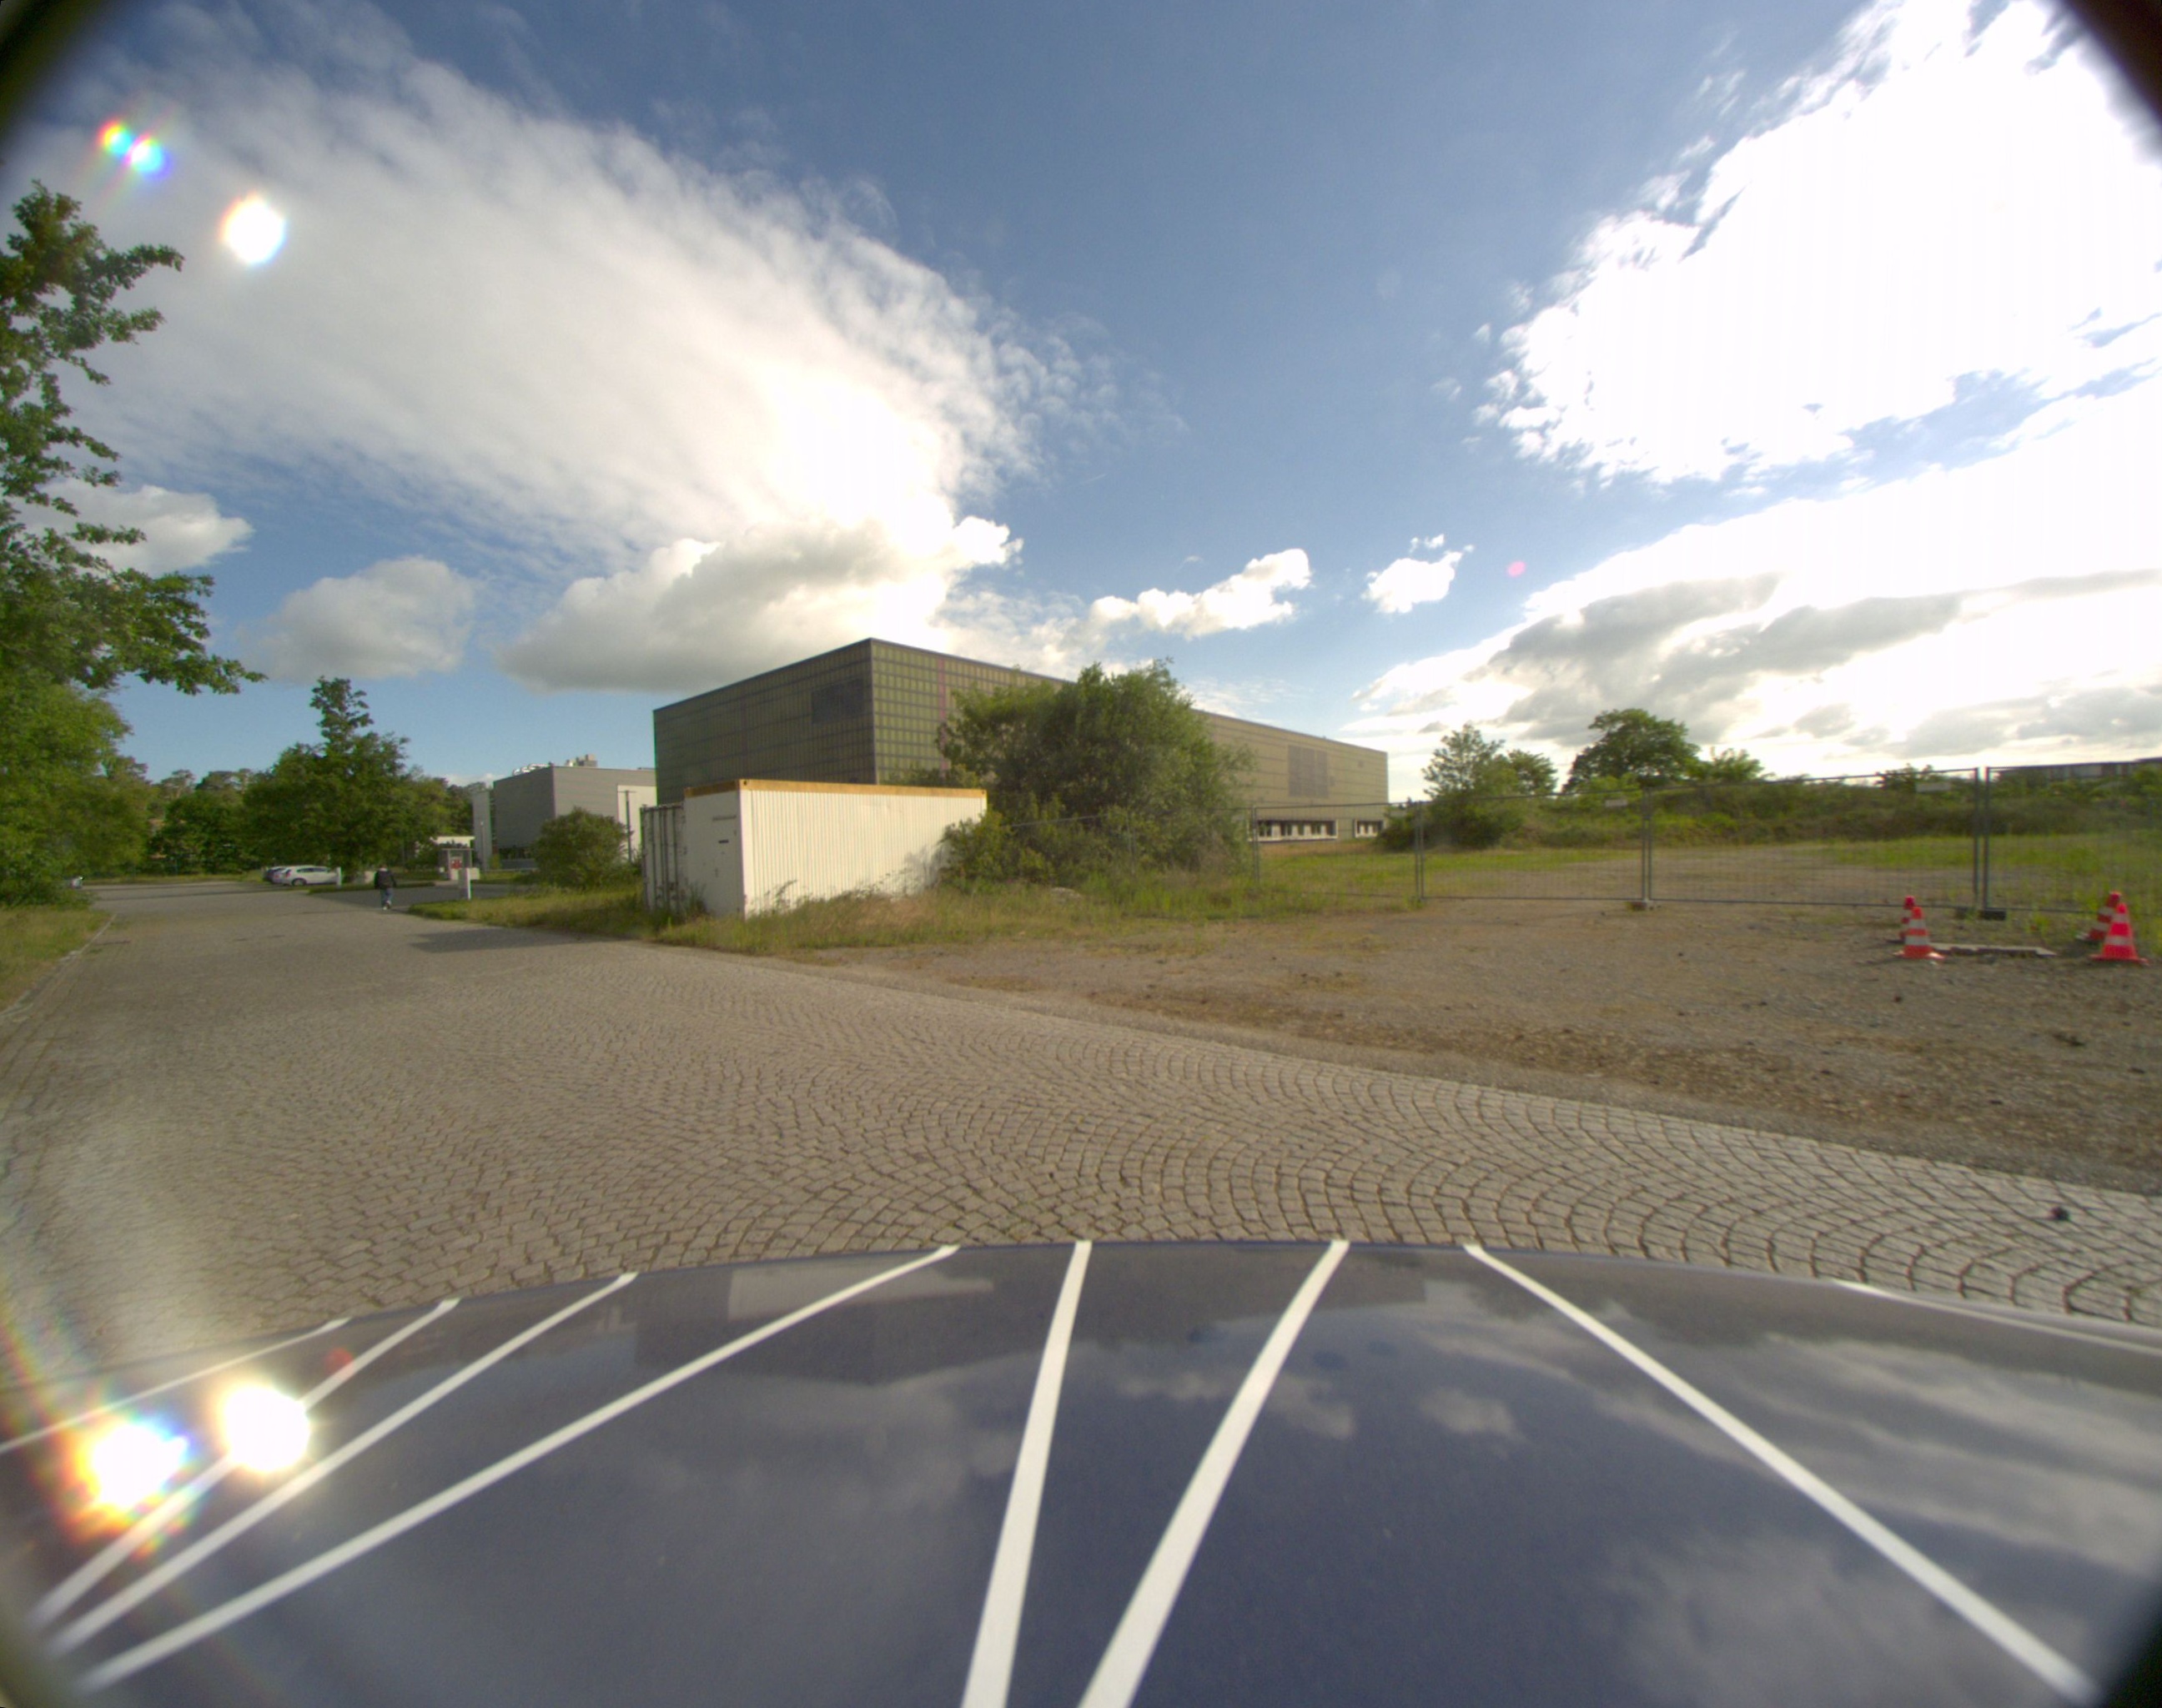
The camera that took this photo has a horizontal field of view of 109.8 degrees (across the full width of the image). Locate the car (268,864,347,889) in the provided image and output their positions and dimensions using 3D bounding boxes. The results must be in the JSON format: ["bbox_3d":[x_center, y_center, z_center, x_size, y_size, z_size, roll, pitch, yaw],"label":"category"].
[{"bbox_3d":[-57.392,1.624,56.492,4.007,1.633,1.994,-3,2,-45],"label":"car"}]

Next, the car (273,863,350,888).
[{"bbox_3d":[-59.180,1.626,58.514,4.007,1.633,1.994,-3,2,-45],"label":"car"}]

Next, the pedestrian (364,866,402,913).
[{"bbox_3d":[-24.151,1.197,26.309,0.869,1.550,1.025,-3,2,-40],"label":"pedestrian"}]
